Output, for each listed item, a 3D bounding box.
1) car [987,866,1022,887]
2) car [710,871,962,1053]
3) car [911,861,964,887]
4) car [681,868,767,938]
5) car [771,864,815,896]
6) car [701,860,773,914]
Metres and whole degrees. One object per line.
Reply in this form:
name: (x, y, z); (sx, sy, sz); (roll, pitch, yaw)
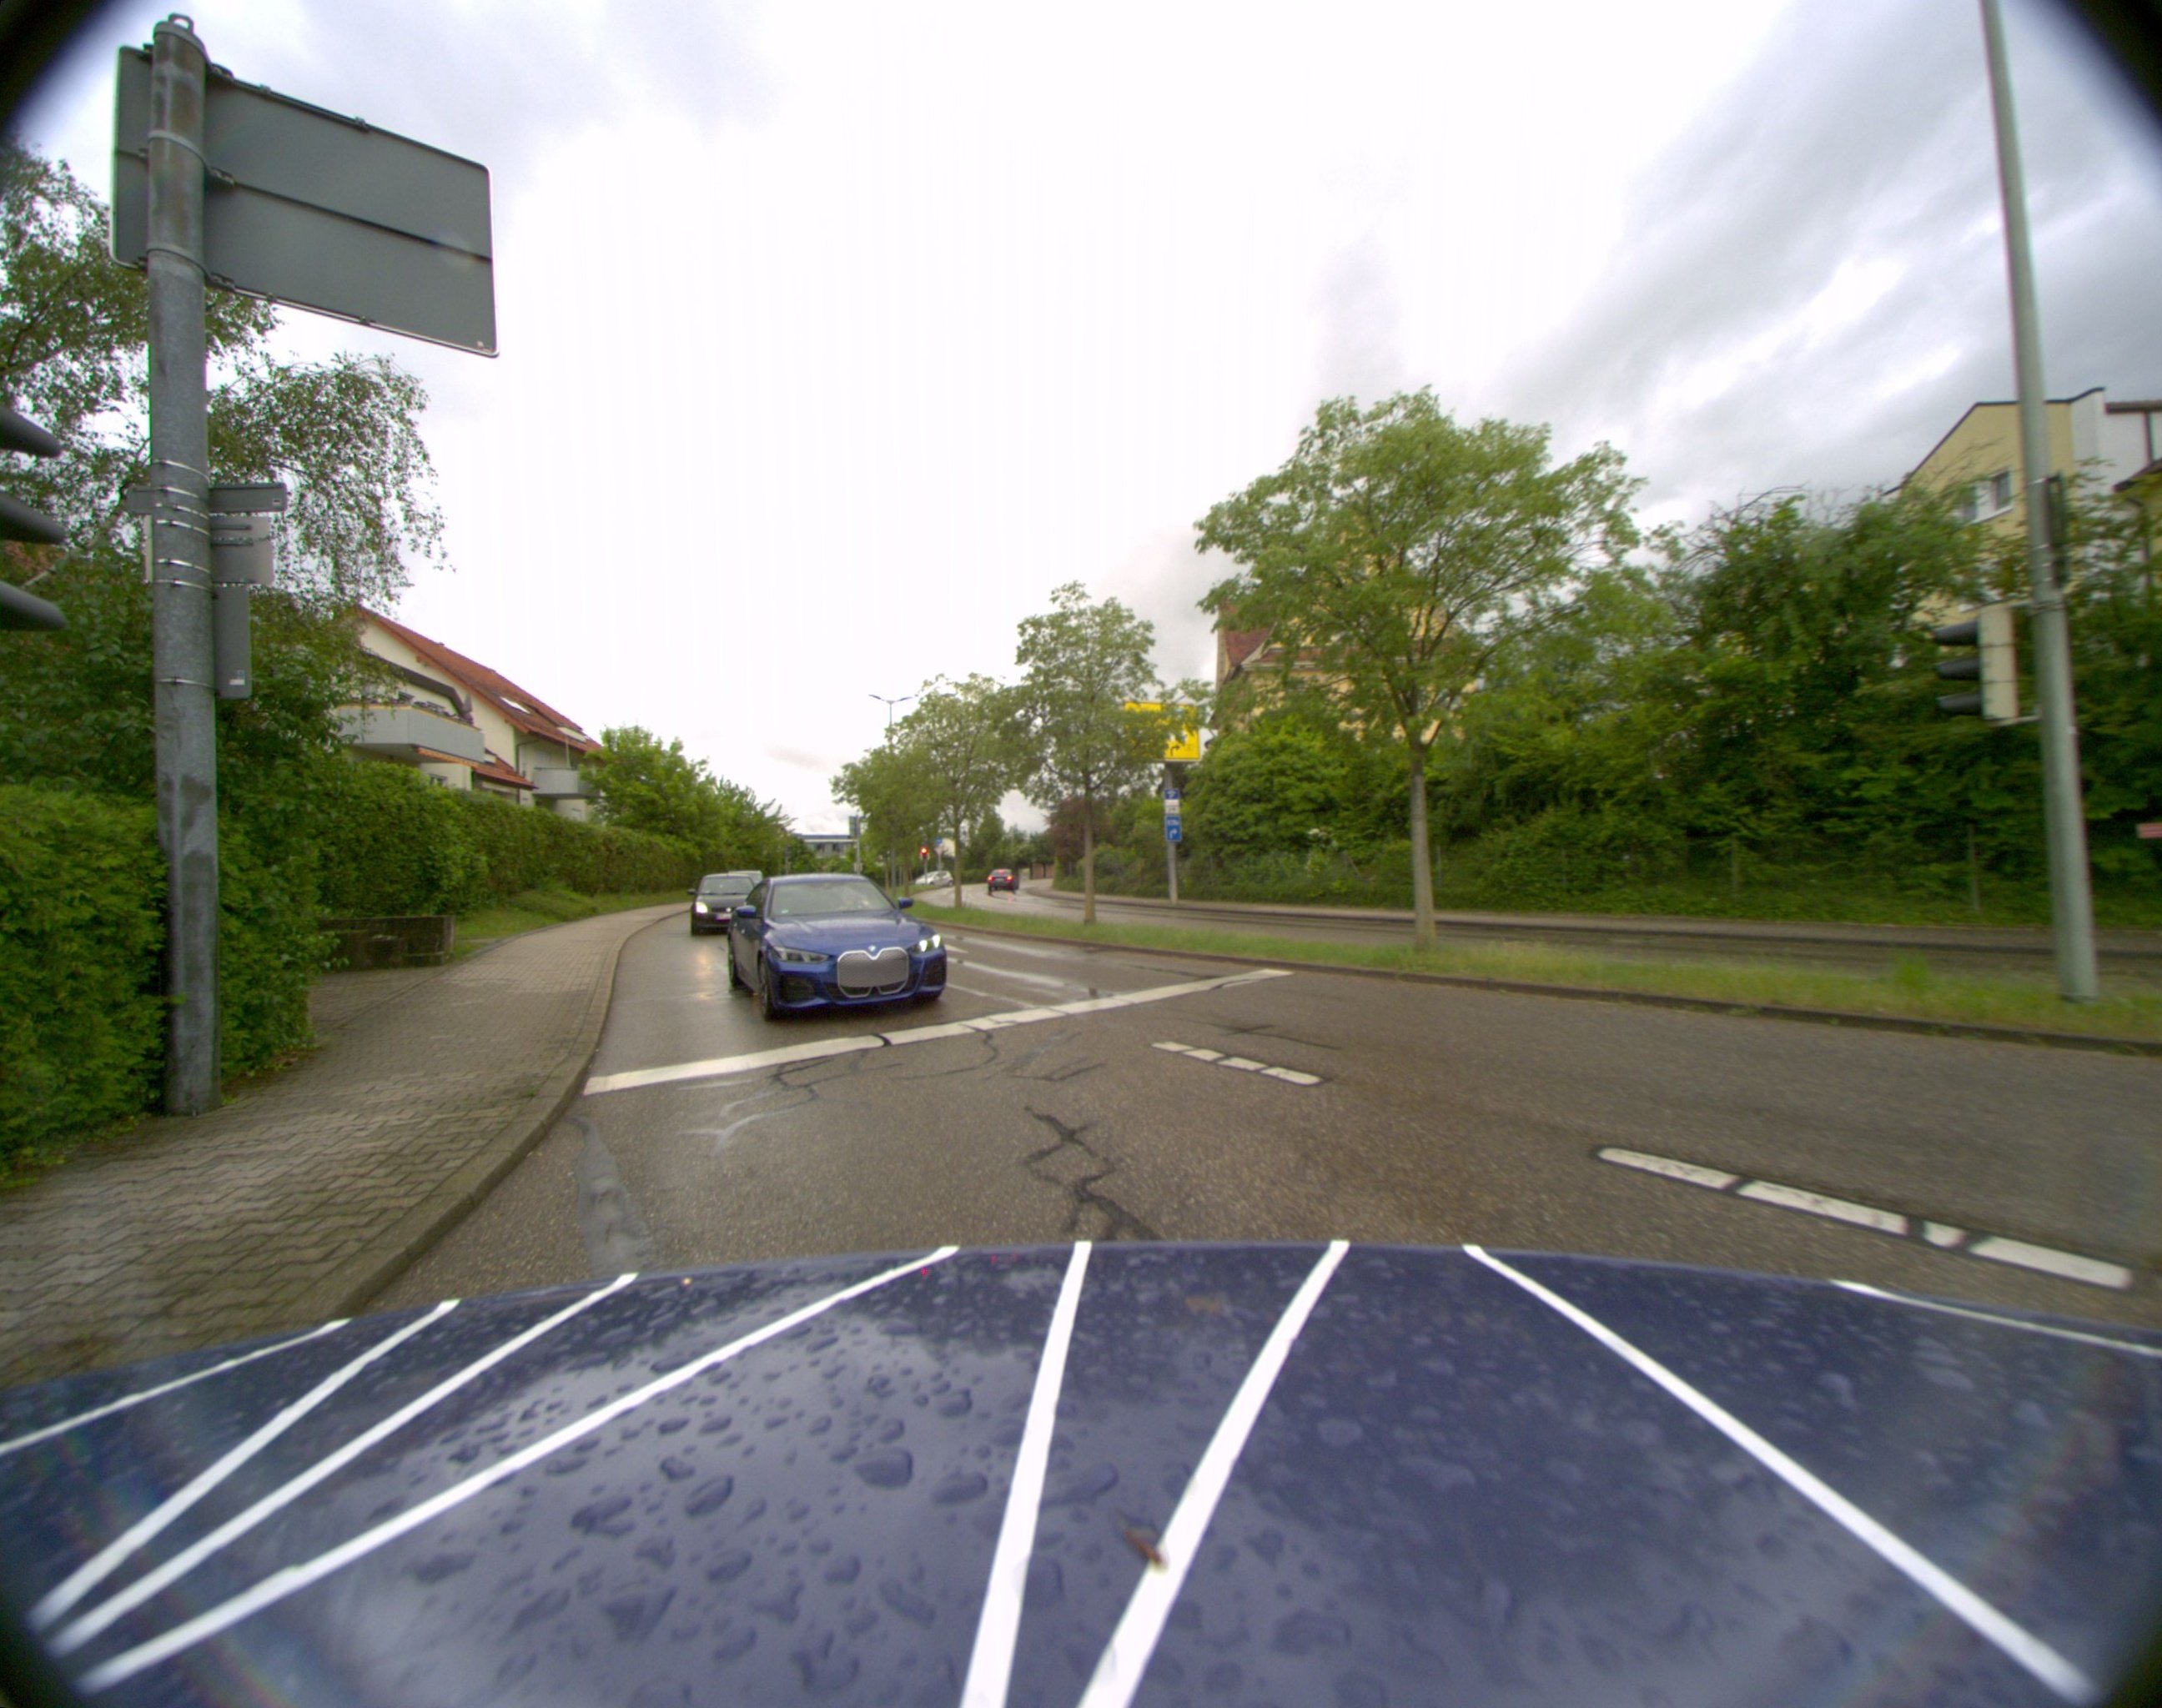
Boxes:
car: (-5.440, 1.639, 54.462); (1.998, 1.429, 4.550); (0, -2, 1)
car: (-3.177, 1.017, 9.145); (1.917, 1.487, 4.338); (-3, 1, -30)
car: (-12.634, 1.776, 66.886); (4.006, 1.914, 1.909); (-4, -2, -37)
car: (-9.273, 1.275, 19.901); (1.749, 1.509, 3.994); (-4, -2, -24)
car: (-17.502, 1.644, 46.366); (1.869, 1.715, 3.997); (-5, -2, -14)
car: (-13.050, 1.297, 29.067); (1.970, 1.739, 4.303); (-5, -2, -18)
